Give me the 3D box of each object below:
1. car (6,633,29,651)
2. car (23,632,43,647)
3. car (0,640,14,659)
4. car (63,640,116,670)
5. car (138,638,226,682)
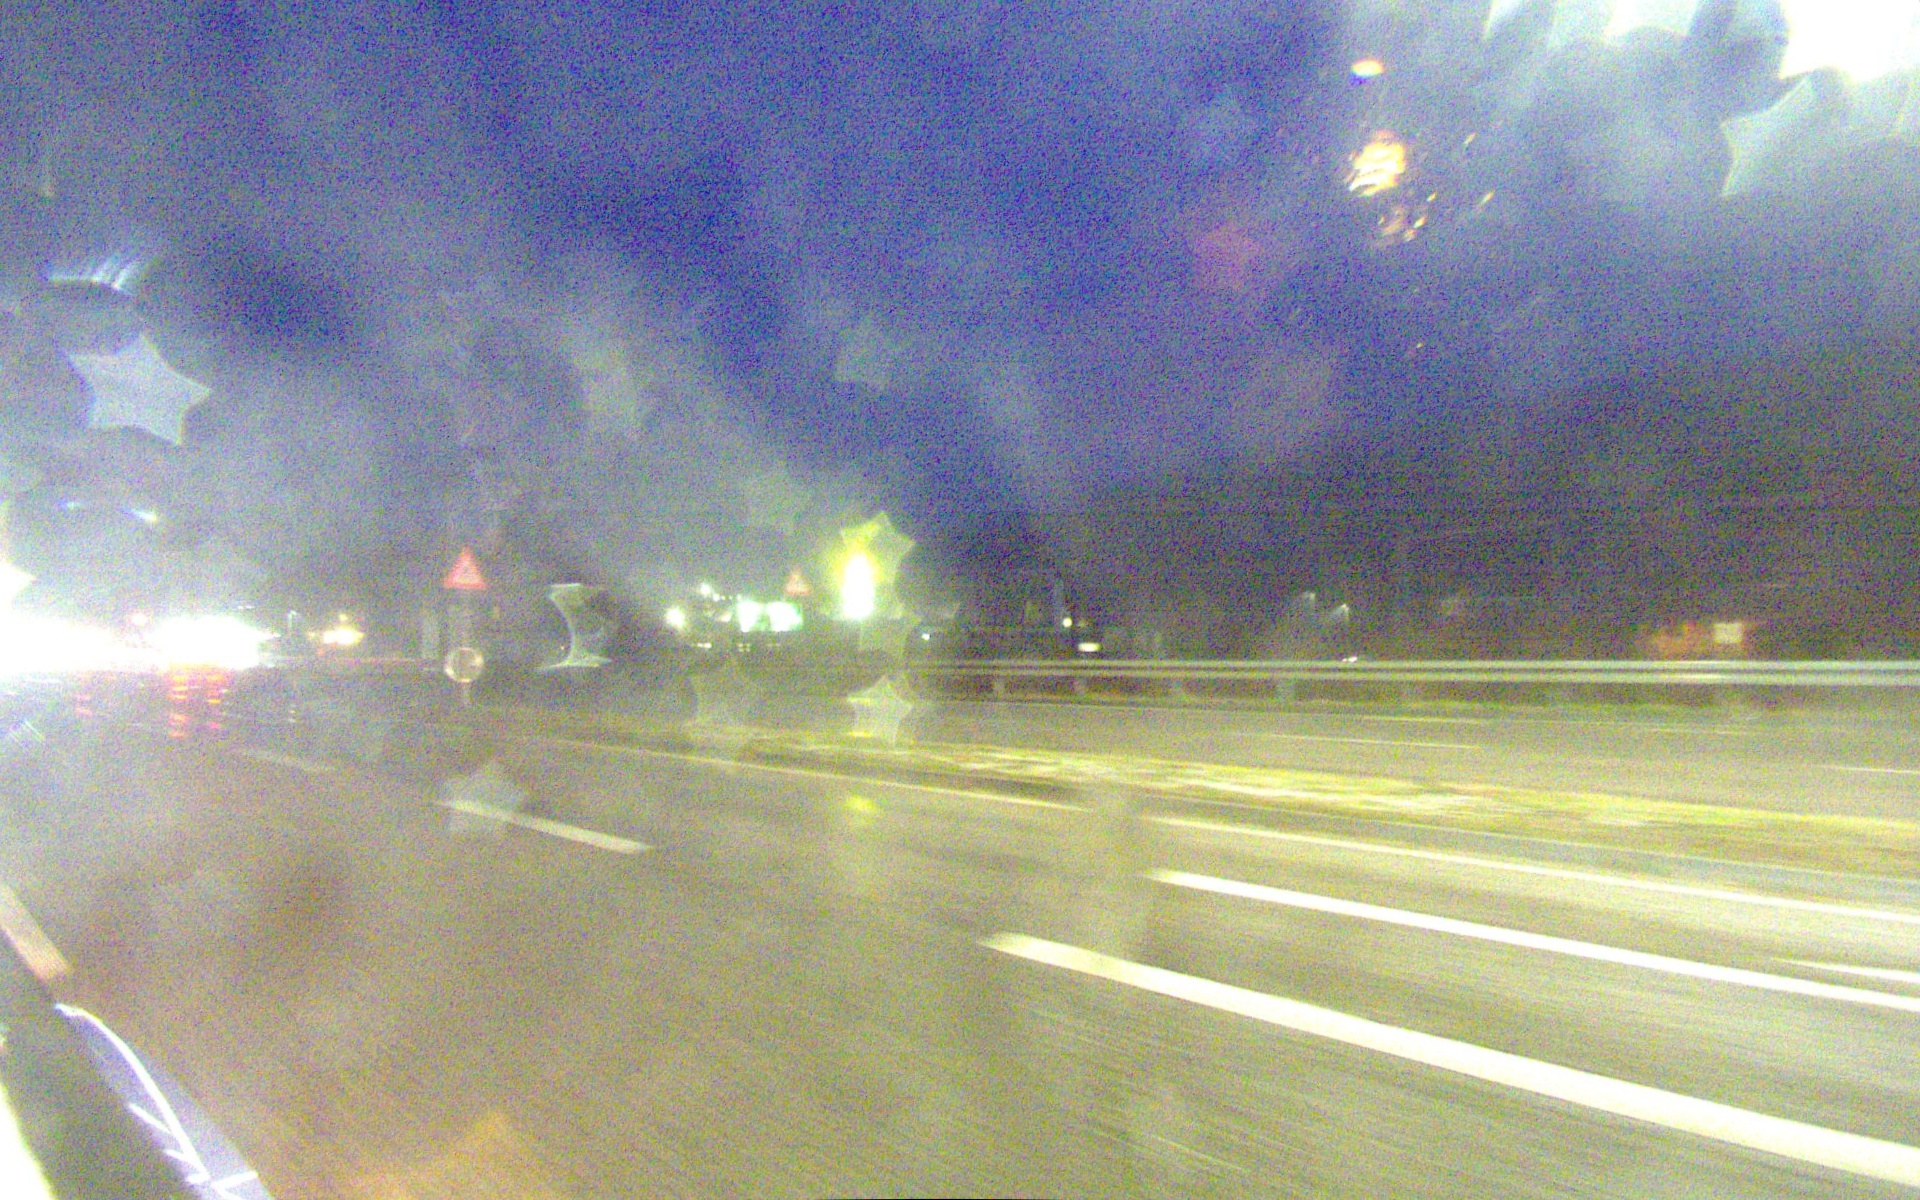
[{"bbox_3d":[-115.992,5.134,124.540,1.969,2.029,4.005,0,0,-42],"label":"car"},{"bbox_3d":[-132.285,5.574,144.452,1.969,2.029,4.006,0,0,-40],"label":"car"},{"bbox_3d":[-78.087,4.011,82.074,4.206,1.435,1.784,-1,0,43],"label":"car"},{"bbox_3d":[-48.629,3.043,56.519,4.205,1.435,1.784,-1,0,43],"label":"car"},{"bbox_3d":[-33.982,2.566,44.162,4.573,1.713,2.068,-1,0,39],"label":"car"}]
